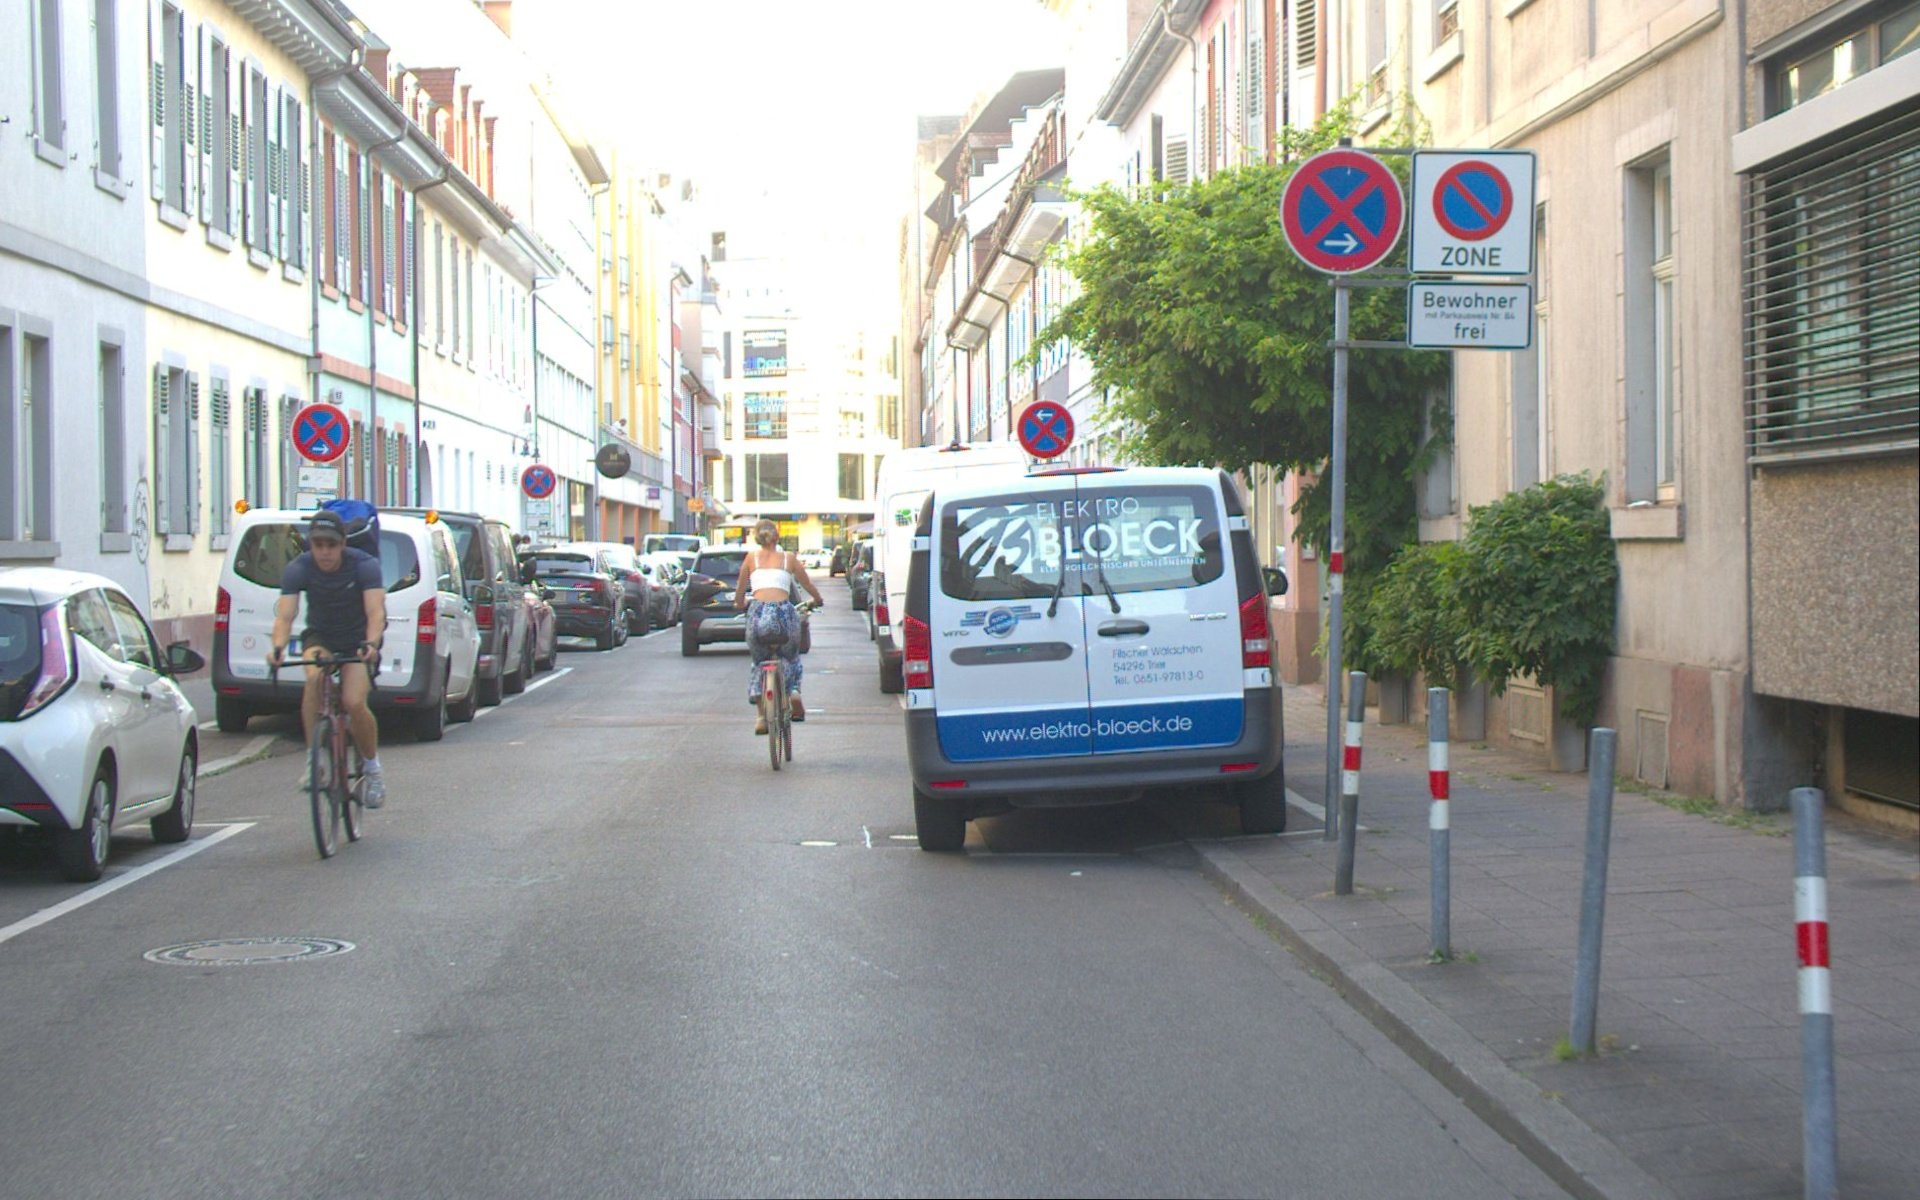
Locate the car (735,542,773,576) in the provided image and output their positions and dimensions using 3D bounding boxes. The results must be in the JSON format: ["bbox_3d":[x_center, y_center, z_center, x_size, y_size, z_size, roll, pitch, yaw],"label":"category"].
[{"bbox_3d":[-9.761,-1.945,162.917,1.653,1.555,3.606,1,1,-2],"label":"car"}]

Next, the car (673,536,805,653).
[{"bbox_3d":[-3.183,-0.108,50.105,1.819,1.612,4.000,1,1,-2],"label":"car"}]

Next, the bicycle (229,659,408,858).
[{"bbox_3d":[-3.276,0.790,17.684,0.634,0.919,1.779,0,1,-2],"label":"bicycle"}]

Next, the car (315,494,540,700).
[{"bbox_3d":[-5.541,-0.069,36.281,1.862,2.007,4.814,-1,1,-3],"label":"car"}]

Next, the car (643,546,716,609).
[{"bbox_3d":[-7.190,-0.599,88.289,1.653,1.555,3.606,1,1,-2],"label":"car"}]

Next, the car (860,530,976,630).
[{"bbox_3d":[-0.720,-0.360,59.093,1.819,1.525,5.071,-4,1,-1],"label":"car"}]

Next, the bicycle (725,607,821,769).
[{"bbox_3d":[-1.316,0.605,24.398,0.613,1.078,1.809,0,1,-1],"label":"bicycle"}]

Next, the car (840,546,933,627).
[{"bbox_3d":[-1.658,-0.331,76.613,1.918,1.732,4.154,1,1,-3],"label":"car"}]

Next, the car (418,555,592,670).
[{"bbox_3d":[-5.780,0.120,44.074,1.765,1.397,4.263,0,1,-1],"label":"car"}]

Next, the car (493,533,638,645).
[{"bbox_3d":[-6.163,-0.205,54.103,1.802,1.671,4.490,-1,1,-1],"label":"car"}]

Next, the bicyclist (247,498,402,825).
[{"bbox_3d":[-3.259,0.301,17.695,0.623,1.634,1.081,0,1,-2],"label":"bicyclist"}]

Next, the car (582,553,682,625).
[{"bbox_3d":[-6.804,-0.250,71.699,1.918,1.429,4.294,1,1,-4],"label":"car"}]

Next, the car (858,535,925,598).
[{"bbox_3d":[-1.789,-0.878,88.771,1.653,1.555,3.606,1,1,-2],"label":"car"}]

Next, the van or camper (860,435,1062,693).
[{"bbox_3d":[-0.055,-0.434,38.918,2.050,2.628,7.063,-1,1,-1],"label":"van or camper"}]

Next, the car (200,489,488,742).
[{"bbox_3d":[-5.279,0.078,30.080,1.862,2.007,5.107,-1,1,-3],"label":"car"}]

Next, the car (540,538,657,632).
[{"bbox_3d":[-6.849,-0.302,65.501,1.997,1.701,4.536,1,1,-3],"label":"car"}]

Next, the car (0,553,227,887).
[{"bbox_3d":[-4.837,0.505,17.180,1.662,1.444,3.521,3,1,-2],"label":"car"}]

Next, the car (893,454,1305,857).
[{"bbox_3d":[0.667,0.220,19.004,1.936,1.891,5.277,-1,1,0],"label":"car"}]

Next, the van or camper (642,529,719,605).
[{"bbox_3d":[-7.623,-0.908,94.124,1.844,2.006,4.679,1,1,-2],"label":"van or camper"}]

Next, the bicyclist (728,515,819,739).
[{"bbox_3d":[-1.318,0.187,24.392,0.621,1.569,0.683,0,1,-1],"label":"bicyclist"}]
